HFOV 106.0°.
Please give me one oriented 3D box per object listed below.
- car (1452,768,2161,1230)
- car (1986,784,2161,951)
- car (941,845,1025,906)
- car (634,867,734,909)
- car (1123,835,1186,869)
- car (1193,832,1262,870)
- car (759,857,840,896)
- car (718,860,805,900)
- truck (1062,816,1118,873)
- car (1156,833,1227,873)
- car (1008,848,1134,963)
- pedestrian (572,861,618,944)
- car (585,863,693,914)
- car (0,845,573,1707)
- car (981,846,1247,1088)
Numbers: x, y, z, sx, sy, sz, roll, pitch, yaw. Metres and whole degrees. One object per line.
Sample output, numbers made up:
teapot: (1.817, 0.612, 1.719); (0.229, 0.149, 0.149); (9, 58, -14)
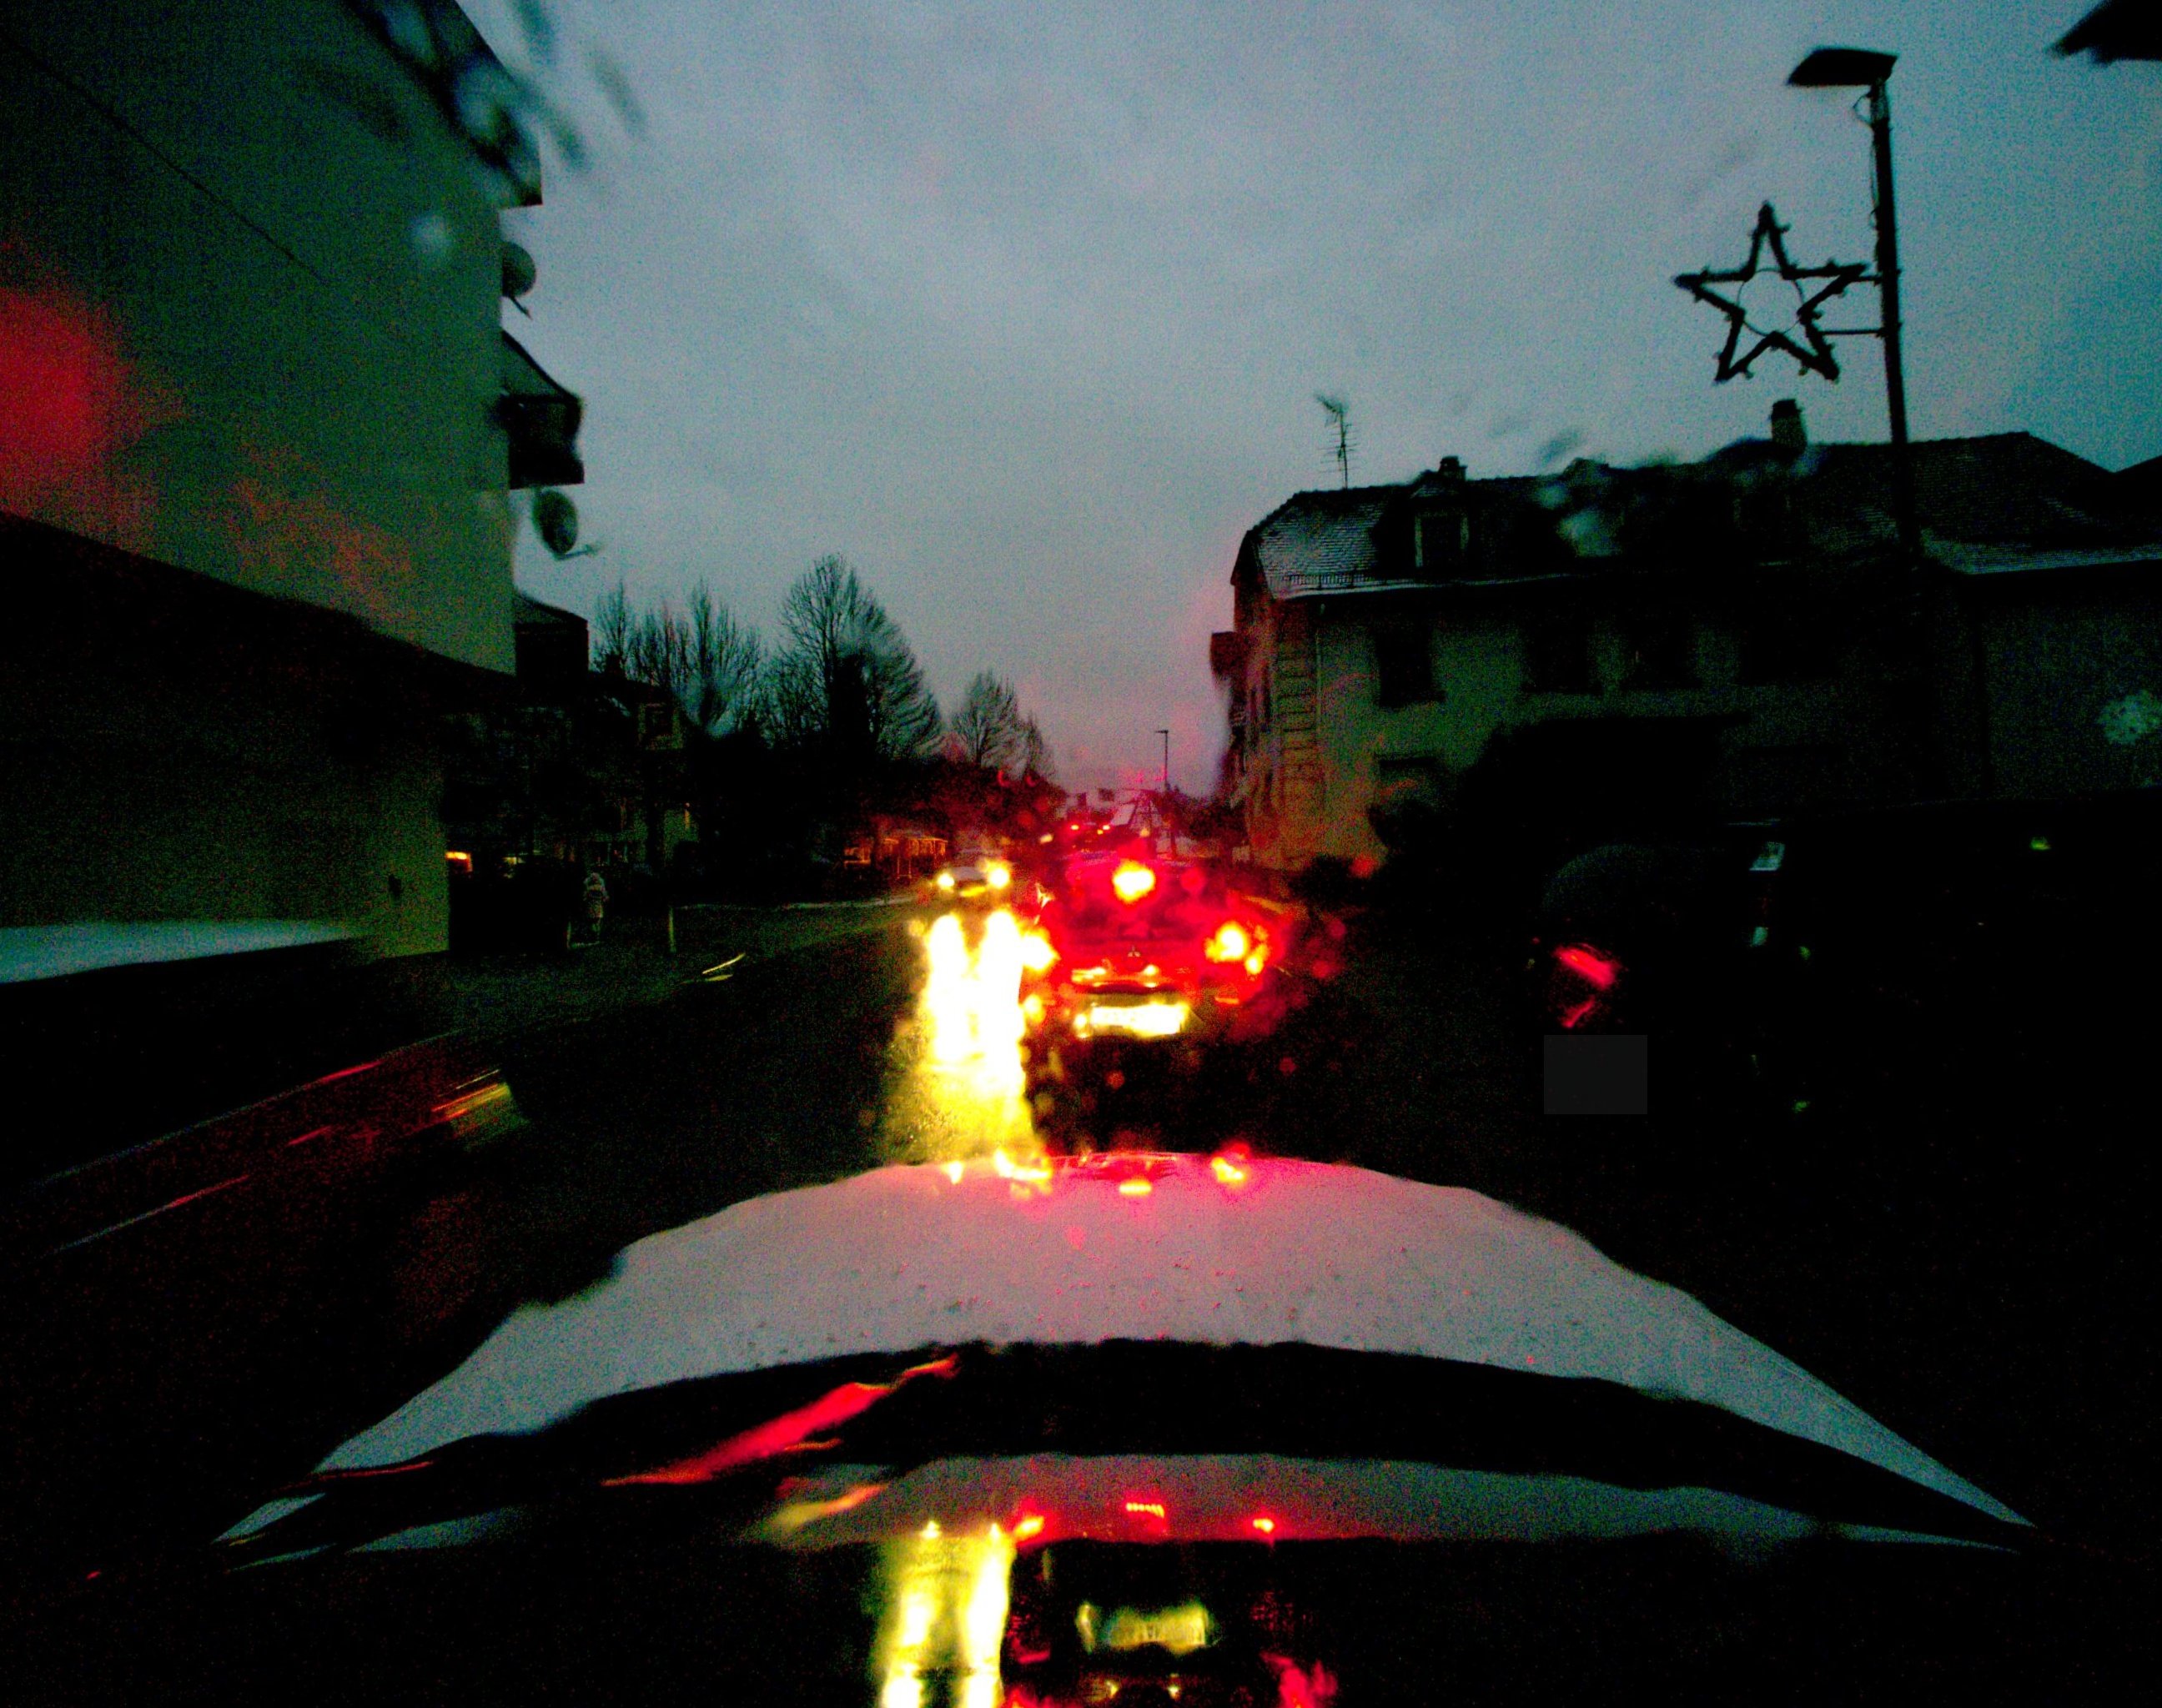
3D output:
car: (4.104, 0.464, 3.900); (3.862, 1.579, 1.680); (-3, 0, -4)
car: (12.137, 0.026, 8.093); (3.973, 1.570, 2.000); (-3, -1, 1)
car: (-2.791, 0.558, 24.083); (1.804, 1.596, 4.401); (-2, 0, 1)
car: (-18.173, 1.551, 37.293); (3.953, 1.730, 1.829); (-2, 0, 21)
car: (5.009, -0.140, 55.301); (4.073, 2.151, 1.918); (-2, 0, 8)
car: (9.037, -0.177, 50.507); (4.073, 2.151, 1.918); (-2, 0, 8)
car: (-15.662, 1.265, 45.376); (3.953, 1.998, 1.829); (-2, 0, 21)
car: (-16.692, 1.365, 42.524); (3.953, 1.910, 1.829); (-2, 0, 21)
truck: (0.412, -0.548, 50.110); (3.008, 3.128, 7.994); (-1, 0, -2)
car: (6.563, -0.075, 48.283); (4.073, 2.163, 1.918); (-2, 0, 8)
car: (-0.128, 0.665, 12.410); (1.632, 1.481, 3.271); (-1, 1, 0)
pedestrian: (-8.957, 0.867, 15.007); (0.653, 1.458, 0.643); (-1, 0, -35)
car: (-18.724, 1.466, 34.508); (3.953, 1.988, 1.829); (-2, 0, 21)
car: (-2.763, 0.776, 1.368); (1.633, 1.535, 3.406); (-2, 0, 0)
car: (0.260, 0.706, 6.777); (1.632, 1.481, 3.380); (-1, 0, 2)
